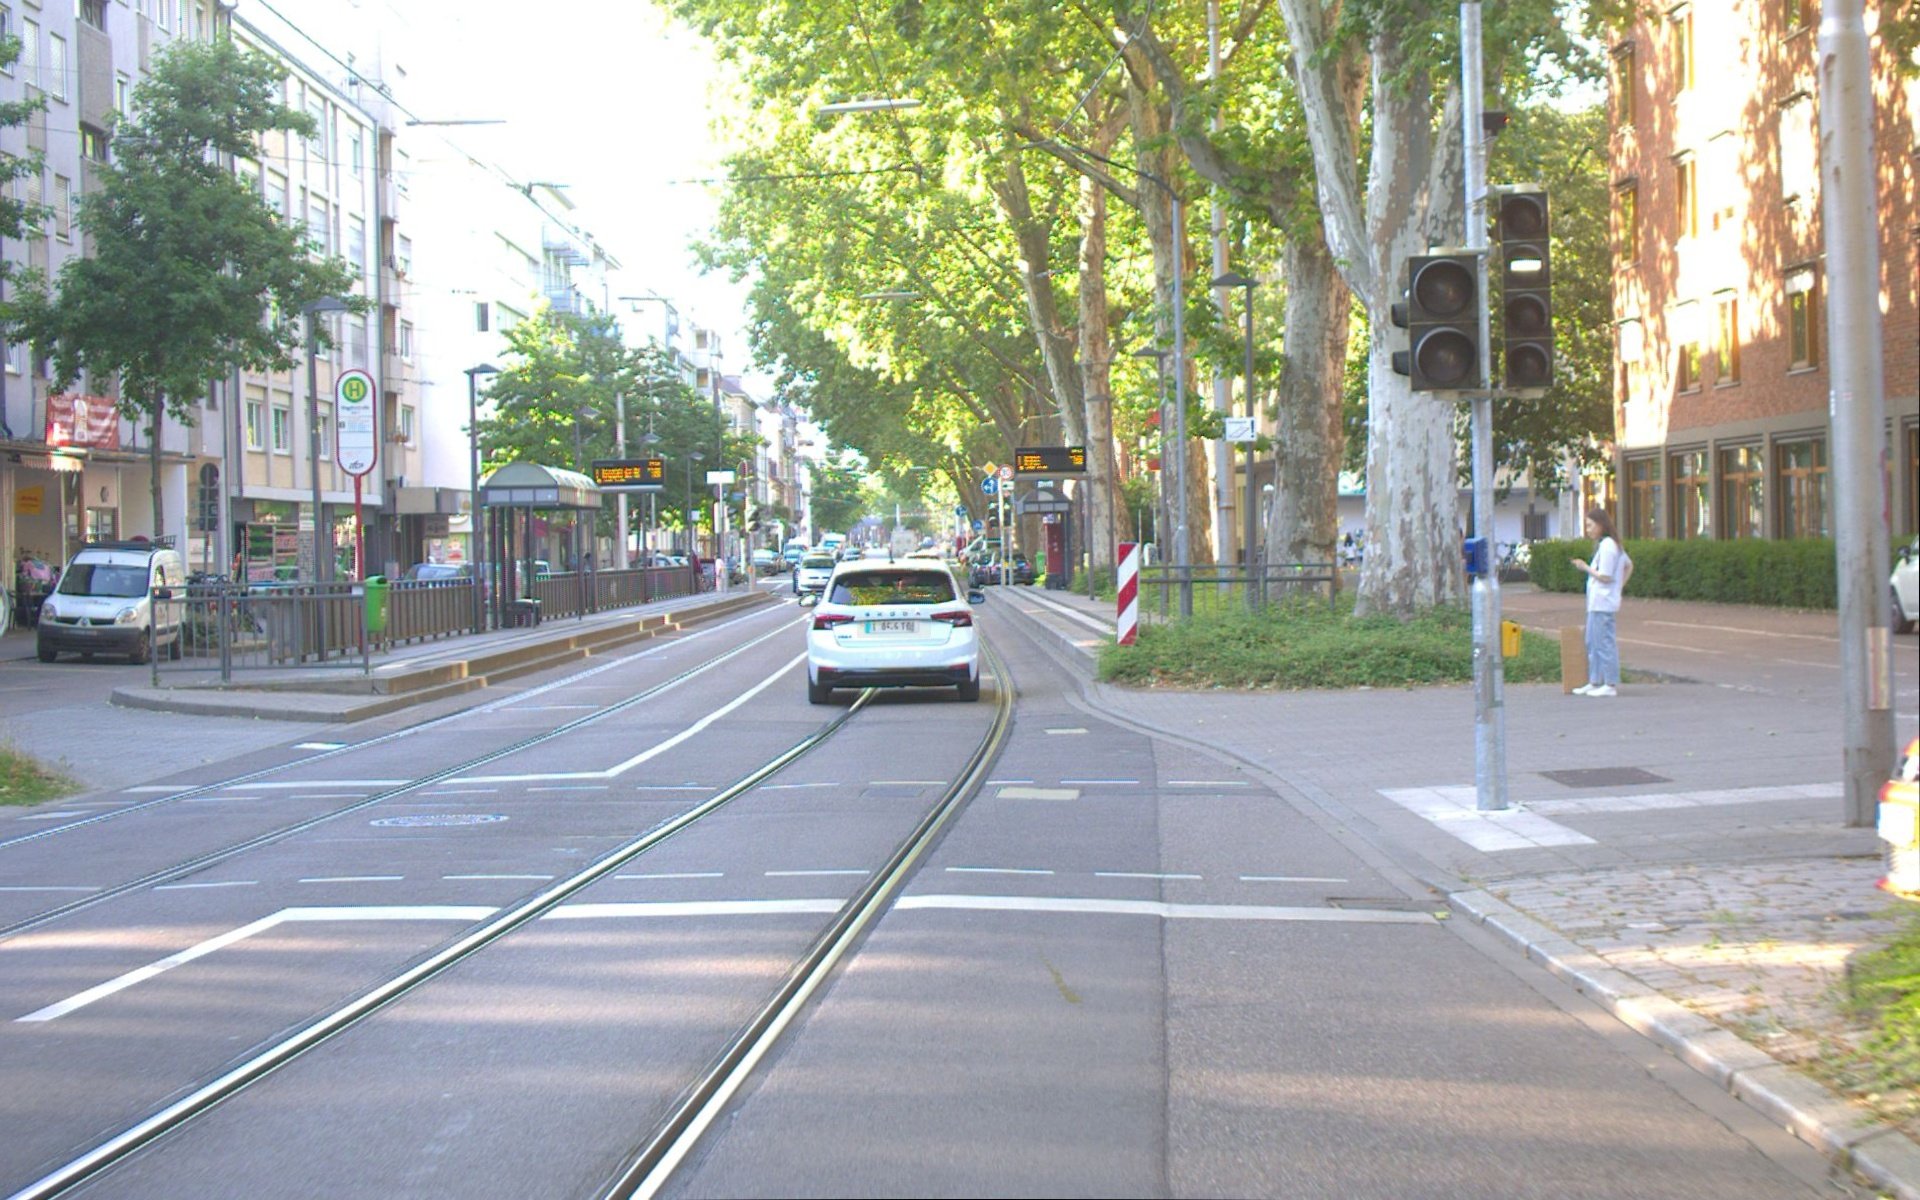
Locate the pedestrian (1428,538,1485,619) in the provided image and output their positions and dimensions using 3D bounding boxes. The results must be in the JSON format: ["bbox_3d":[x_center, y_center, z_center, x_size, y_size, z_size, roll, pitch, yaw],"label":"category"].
[{"bbox_3d":[10.114,-0.438,70.066,0.972,1.618,0.887,-1,1,0],"label":"pedestrian"}]

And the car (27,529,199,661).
[{"bbox_3d":[-13.184,-0.109,53.704,1.688,1.933,4.000,-1,1,-1],"label":"car"}]

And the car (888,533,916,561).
[{"bbox_3d":[-3.949,-3.626,234.373,1.866,1.886,4.000,-1,1,0],"label":"car"}]

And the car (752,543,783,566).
[{"bbox_3d":[-12.806,-3.034,228.917,1.788,1.508,4.000,-1,1,0],"label":"car"}]

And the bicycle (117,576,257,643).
[{"bbox_3d":[-13.402,0.164,59.641,2.253,1.070,0.636,2,1,1],"label":"bicycle"}]

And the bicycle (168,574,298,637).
[{"bbox_3d":[-13.467,0.102,63.722,2.253,1.070,0.636,2,1,1],"label":"bicycle"}]

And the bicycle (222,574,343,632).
[{"bbox_3d":[-13.505,0.051,68.564,2.253,1.070,0.636,2,1,1],"label":"bicycle"}]

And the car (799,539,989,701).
[{"bbox_3d":[-0.649,0.156,35.043,1.788,1.508,4.000,-1,1,0],"label":"car"}]

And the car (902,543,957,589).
[{"bbox_3d":[-1.039,-1.161,115.906,1.788,1.508,4.000,-1,1,0],"label":"car"}]

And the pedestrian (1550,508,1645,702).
[{"bbox_3d":[5.601,0.038,30.226,0.652,1.663,0.738,-2,1,-1],"label":"pedestrian"}]

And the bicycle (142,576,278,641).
[{"bbox_3d":[-13.371,0.154,61.289,2.253,1.070,0.636,2,1,1],"label":"bicycle"}]

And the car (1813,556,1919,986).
[{"bbox_3d":[5.160,0.511,12.143,3.885,1.418,1.648,-2,1,3],"label":"car"}]

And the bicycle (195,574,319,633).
[{"bbox_3d":[-13.636,0.064,66.733,2.253,1.070,0.636,2,1,1],"label":"bicycle"}]

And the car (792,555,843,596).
[{"bbox_3d":[-5.217,-0.908,126.232,1.694,1.414,4.000,-1,1,0],"label":"car"}]

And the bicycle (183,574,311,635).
[{"bbox_3d":[-13.469,0.085,64.986,2.253,1.070,0.636,2,1,1],"label":"bicycle"}]

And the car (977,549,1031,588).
[{"bbox_3d":[1.713,-1.233,134.832,1.993,1.448,4.000,-1,1,0],"label":"car"}]

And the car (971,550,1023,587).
[{"bbox_3d":[1.484,-1.297,139.919,1.993,1.448,4.000,-1,1,0],"label":"car"}]

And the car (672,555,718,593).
[{"bbox_3d":[-11.135,-1.121,144.702,1.678,1.543,4.000,1,1,-1],"label":"car"}]

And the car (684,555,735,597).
[{"bbox_3d":[-9.615,-0.927,132.131,1.678,1.543,4.000,1,1,-1],"label":"car"}]

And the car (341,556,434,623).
[{"bbox_3d":[-13.848,-0.279,83.314,1.593,1.543,4.000,1,1,-1],"label":"car"}]

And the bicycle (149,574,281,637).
[{"bbox_3d":[-13.648,0.098,62.977,2.253,1.070,0.636,2,1,1],"label":"bicycle"}]

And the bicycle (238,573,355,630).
[{"bbox_3d":[-13.567,0.026,70.325,2.253,1.070,0.636,2,1,1],"label":"bicycle"}]

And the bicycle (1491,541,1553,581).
[{"bbox_3d":[15.024,-1.034,91.930,1.567,1.034,0.479,-1,1,21],"label":"bicycle"}]

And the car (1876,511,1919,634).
[{"bbox_3d":[12.413,-0.351,41.619,1.600,1.490,3.417,-1,1,-2],"label":"car"}]
